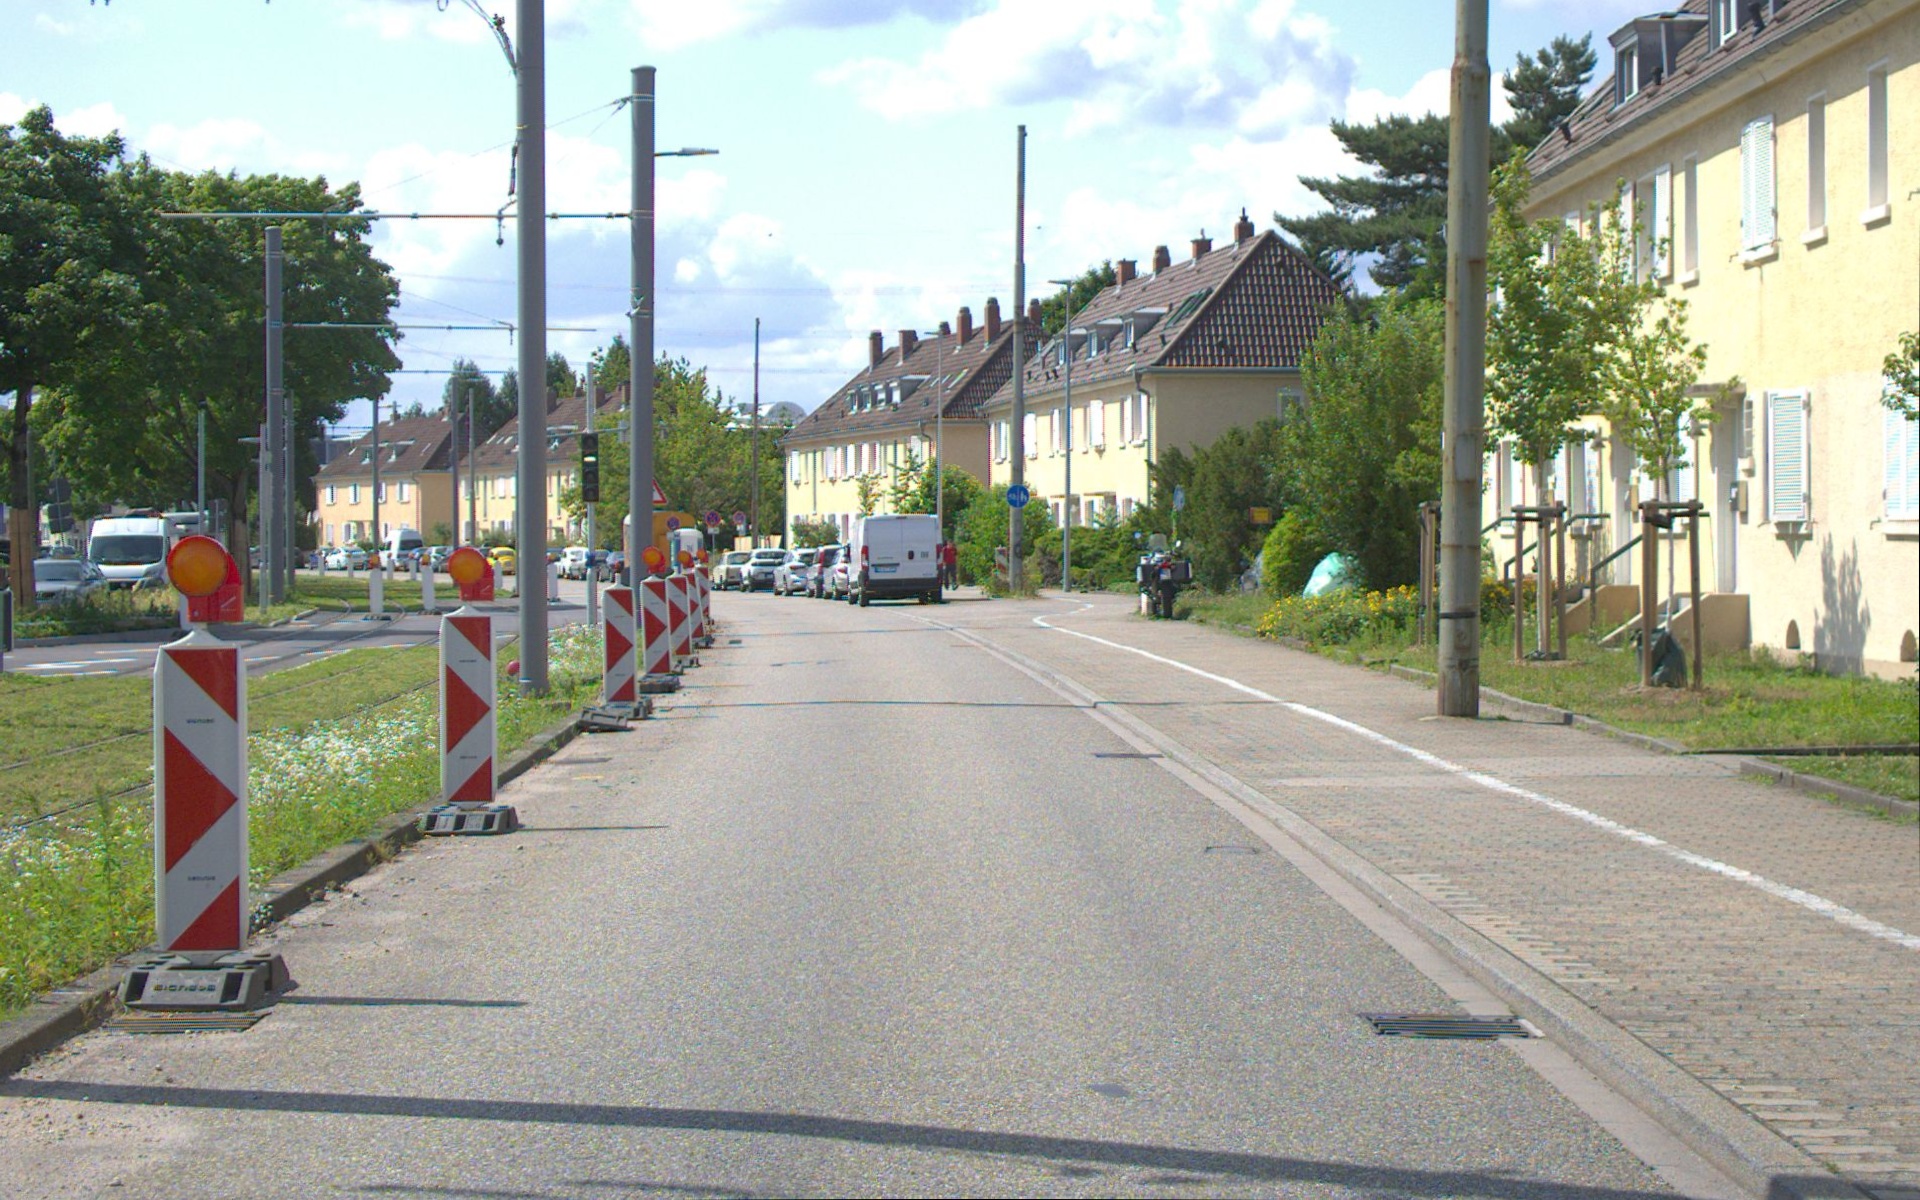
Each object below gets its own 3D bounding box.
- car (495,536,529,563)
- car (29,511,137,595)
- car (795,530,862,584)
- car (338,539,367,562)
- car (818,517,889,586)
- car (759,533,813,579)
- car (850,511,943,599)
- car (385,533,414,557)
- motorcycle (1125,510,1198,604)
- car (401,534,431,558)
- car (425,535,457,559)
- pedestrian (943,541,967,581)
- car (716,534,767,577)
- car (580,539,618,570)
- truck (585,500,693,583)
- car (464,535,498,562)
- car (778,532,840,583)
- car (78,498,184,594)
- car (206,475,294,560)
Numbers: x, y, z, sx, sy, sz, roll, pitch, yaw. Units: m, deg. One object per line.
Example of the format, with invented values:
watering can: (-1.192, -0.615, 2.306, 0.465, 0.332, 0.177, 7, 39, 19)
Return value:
car: (-23.621, -2.653, 181.043, 1.257, 1.421, 2.666, 0, 1, -19)
car: (-19.095, -1.033, 75.005, 2.093, 1.770, 4.122, 0, 1, -12)
car: (-3.883, -1.271, 101.042, 1.567, 1.546, 3.790, 0, 1, -8)
car: (-38.049, -3.100, 215.203, 1.257, 1.421, 2.666, -1, 1, -23)
car: (-2.990, -1.354, 95.763, 1.567, 1.891, 3.790, 0, 1, -8)
car: (-6.009, -1.531, 118.472, 1.567, 1.546, 3.479, 0, 1, -8)
car: (-1.620, -1.128, 86.207, 2.065, 2.142, 4.879, 0, 1, -4)
car: (-33.410, -3.272, 204.788, 1.165, 1.421, 2.666, 0, 1, -22)
motorcycle: (3.521, -0.755, 60.252, 1.066, 1.630, 2.084, 0, 1, -2)
car: (-31.735, -3.146, 200.629, 1.165, 1.421, 2.666, 0, 1, -22)
car: (-29.674, -3.018, 196.413, 1.257, 1.346, 2.666, 0, 1, -21)
pedestrian: (-0.167, -1.231, 107.394, 0.632, 1.250, 0.727, 0, 1, -10)
car: (-7.936, -1.624, 124.761, 1.567, 1.546, 3.479, 0, 1, -8)
car: (-16.888, -2.133, 160.658, 1.257, 1.421, 2.666, 0, 1, -18)
truck: (-13.891, -2.509, 148.099, 2.639, 3.482, 9.441, 0, 1, -18)
car: (-26.135, -2.804, 187.454, 1.257, 1.421, 2.666, 0, 1, -21)
car: (-4.692, -1.332, 106.414, 1.567, 1.546, 3.790, 0, 1, -8)
car: (-20.787, -1.360, 86.350, 2.406, 2.330, 4.881, 0, 1, -12)
car: (-20.366, -2.373, 98.649, 2.406, 2.362, 4.881, 0, 1, -12)
